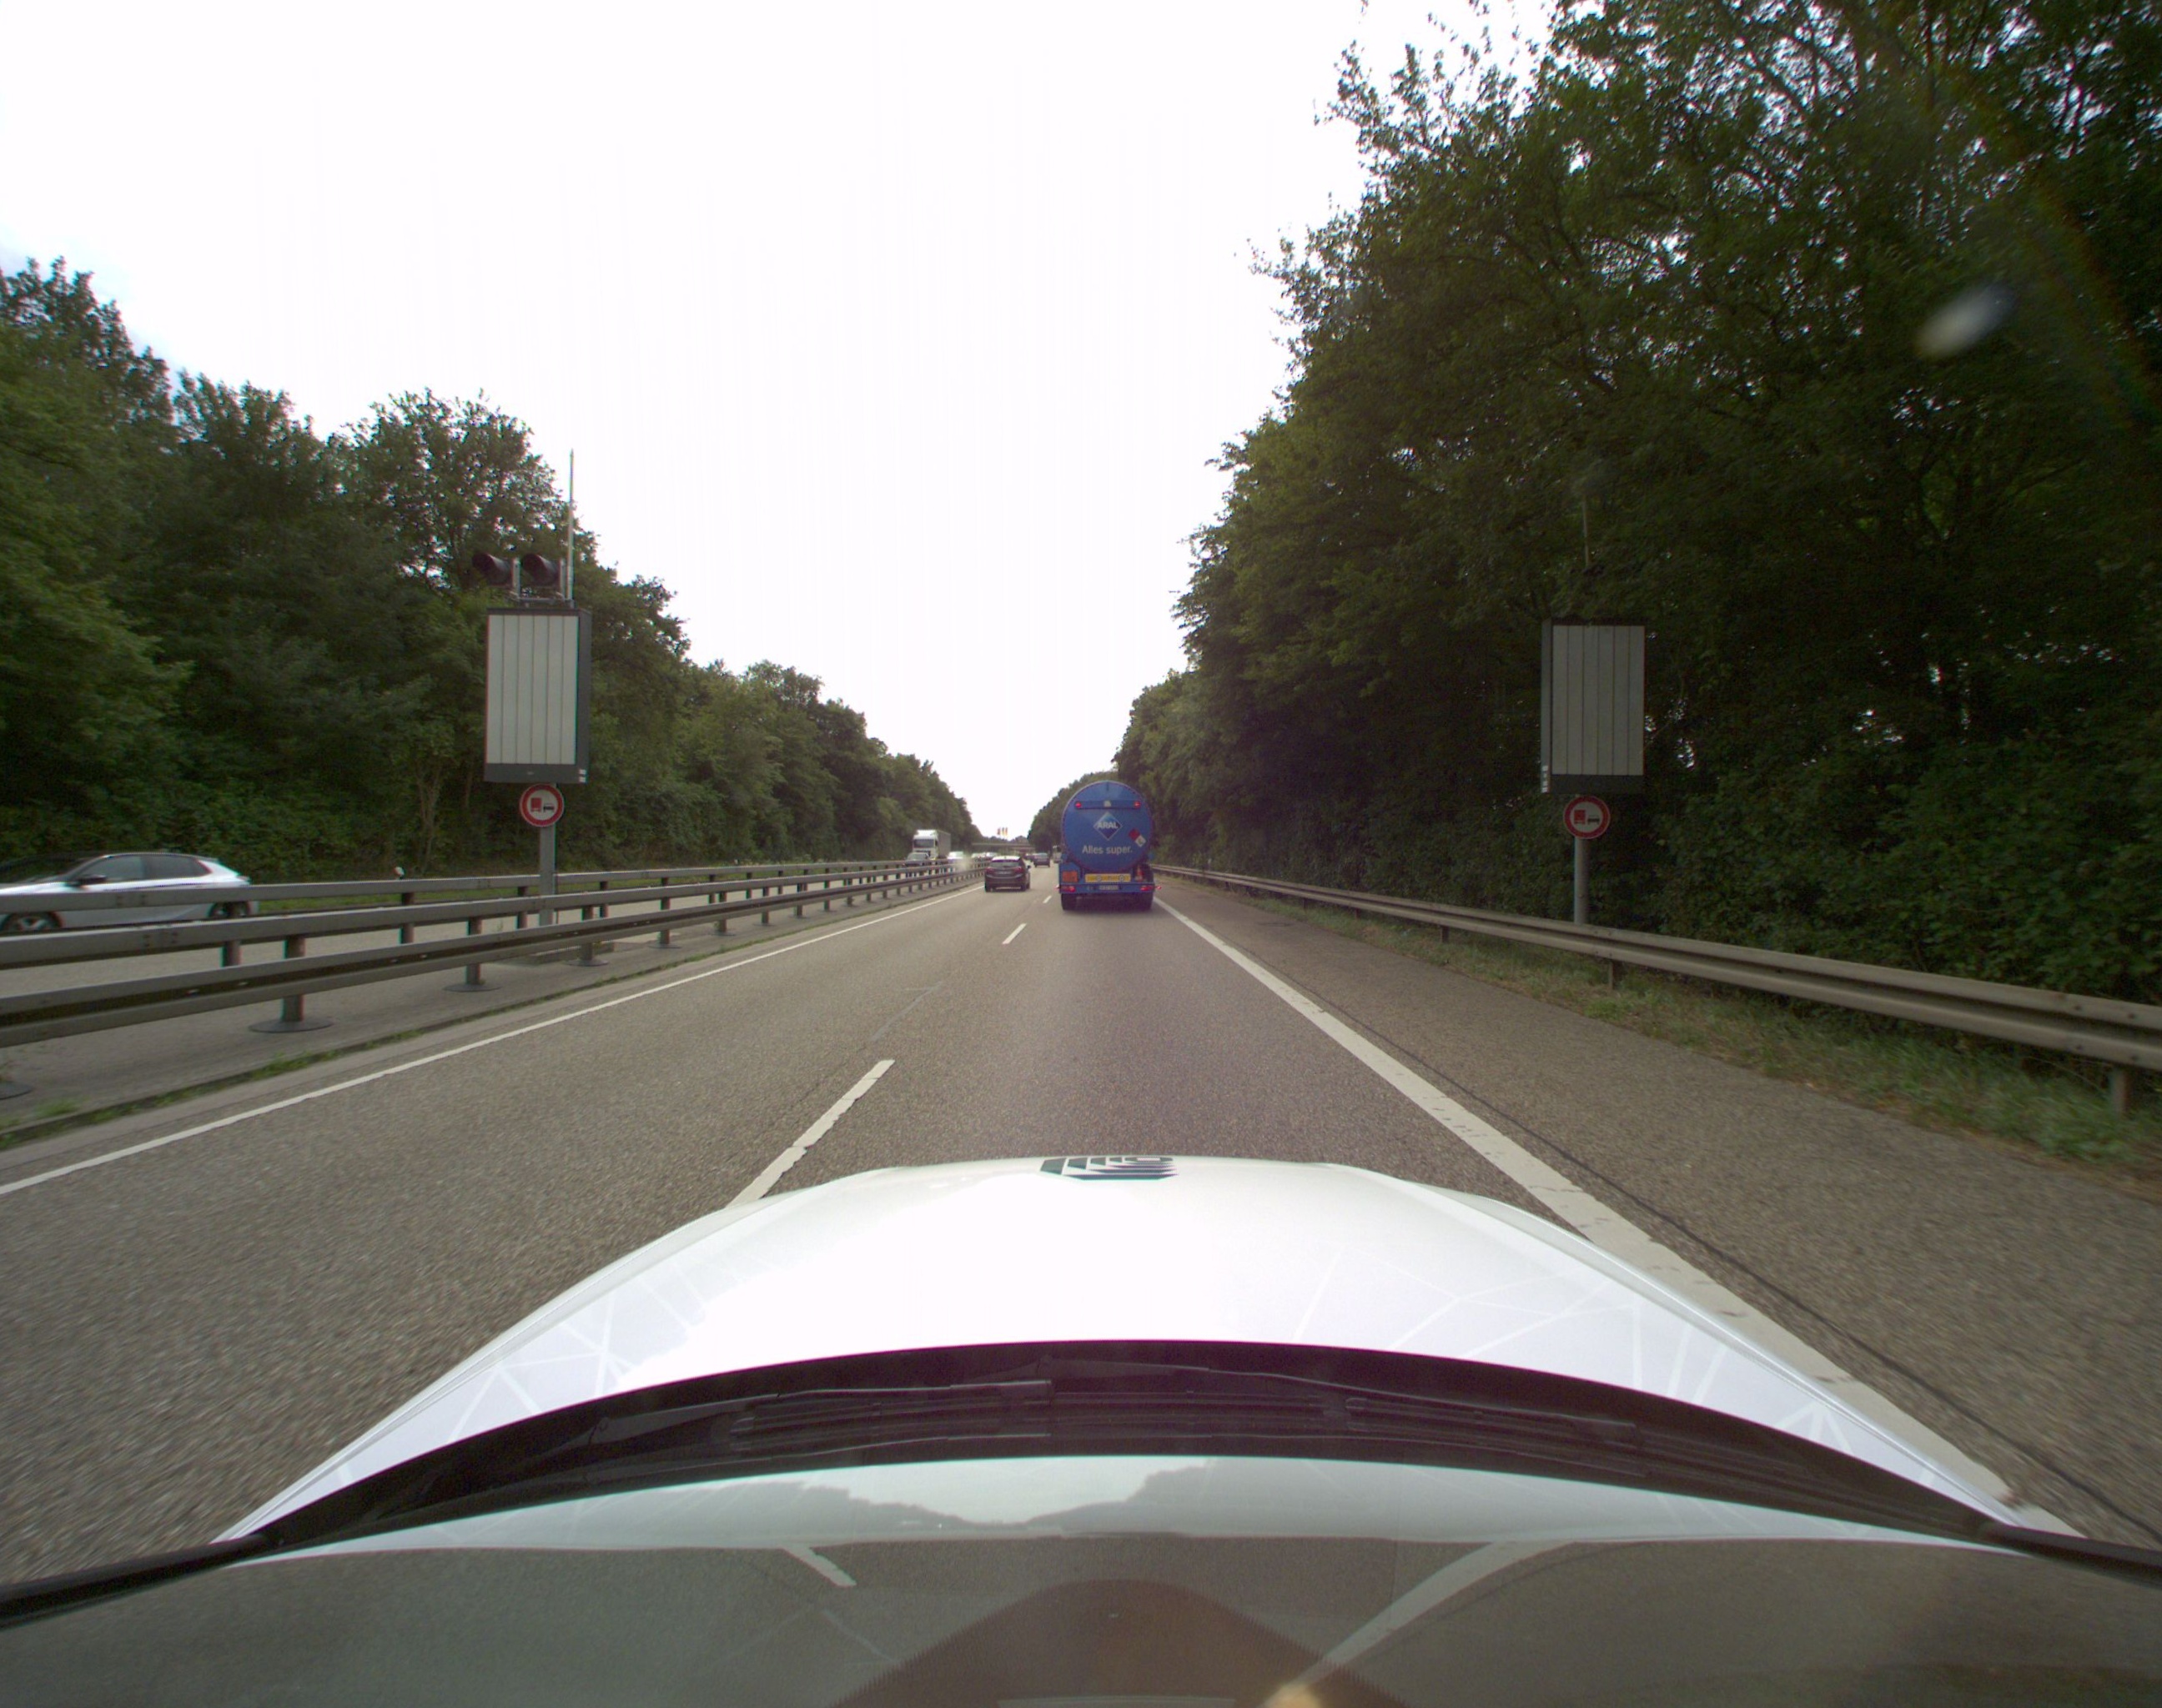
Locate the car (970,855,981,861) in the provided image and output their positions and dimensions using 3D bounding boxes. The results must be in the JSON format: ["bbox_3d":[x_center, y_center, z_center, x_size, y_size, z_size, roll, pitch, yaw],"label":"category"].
[{"bbox_3d":[-21.882,0.752,168.355,1.737,1.189,4.289,-1,0,-1],"label":"car"}]

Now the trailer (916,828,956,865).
[{"bbox_3d":[-17.073,-0.816,97.058,2.656,4.046,12.865,-1,0,-1],"label":"trailer"}]

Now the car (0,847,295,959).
[{"bbox_3d":[-15.223,0.668,12.648,1.987,1.481,4.130,-1,0,0],"label":"car"}]

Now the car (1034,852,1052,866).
[{"bbox_3d":[-4.368,0.592,94.079,1.824,1.609,4.158,-1,0,-6],"label":"car"}]

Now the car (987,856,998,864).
[{"bbox_3d":[-16.487,1.082,152.510,1.638,1.389,4.288,-1,0,-1],"label":"car"}]

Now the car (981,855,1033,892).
[{"bbox_3d":[-3.149,0.809,35.302,1.820,1.458,4.638,-1,0,0],"label":"car"}]

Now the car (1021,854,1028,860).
[{"bbox_3d":[-17.051,0.898,246.151,1.989,1.552,3.996,-1,0,-3],"label":"car"}]

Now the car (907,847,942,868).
[{"bbox_3d":[-11.080,0.244,57.910,1.703,1.446,3.776,-1,0,0],"label":"car"}]

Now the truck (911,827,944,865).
[{"bbox_3d":[-16.927,-0.824,90.007,2.685,4.063,5.319,-1,0,-2],"label":"truck"}]

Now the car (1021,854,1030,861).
[{"bbox_3d":[-12.579,0.831,185.145,1.950,1.567,3.997,-1,0,-2],"label":"car"}]

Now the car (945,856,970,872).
[{"bbox_3d":[-12.040,0.972,79.766,1.786,1.549,4.128,-1,0,0],"label":"car"}]

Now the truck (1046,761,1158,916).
[{"bbox_3d":[0.660,-0.402,24.344,2.745,3.846,7.692,-1,0,2],"label":"truck"}]

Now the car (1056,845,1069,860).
[{"bbox_3d":[-2.837,-0.245,127.427,1.987,2.244,3.999,-1,0,0],"label":"car"}]

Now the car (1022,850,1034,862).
[{"bbox_3d":[-9.575,0.386,147.429,1.990,2.013,3.992,-1,0,-5],"label":"car"}]
